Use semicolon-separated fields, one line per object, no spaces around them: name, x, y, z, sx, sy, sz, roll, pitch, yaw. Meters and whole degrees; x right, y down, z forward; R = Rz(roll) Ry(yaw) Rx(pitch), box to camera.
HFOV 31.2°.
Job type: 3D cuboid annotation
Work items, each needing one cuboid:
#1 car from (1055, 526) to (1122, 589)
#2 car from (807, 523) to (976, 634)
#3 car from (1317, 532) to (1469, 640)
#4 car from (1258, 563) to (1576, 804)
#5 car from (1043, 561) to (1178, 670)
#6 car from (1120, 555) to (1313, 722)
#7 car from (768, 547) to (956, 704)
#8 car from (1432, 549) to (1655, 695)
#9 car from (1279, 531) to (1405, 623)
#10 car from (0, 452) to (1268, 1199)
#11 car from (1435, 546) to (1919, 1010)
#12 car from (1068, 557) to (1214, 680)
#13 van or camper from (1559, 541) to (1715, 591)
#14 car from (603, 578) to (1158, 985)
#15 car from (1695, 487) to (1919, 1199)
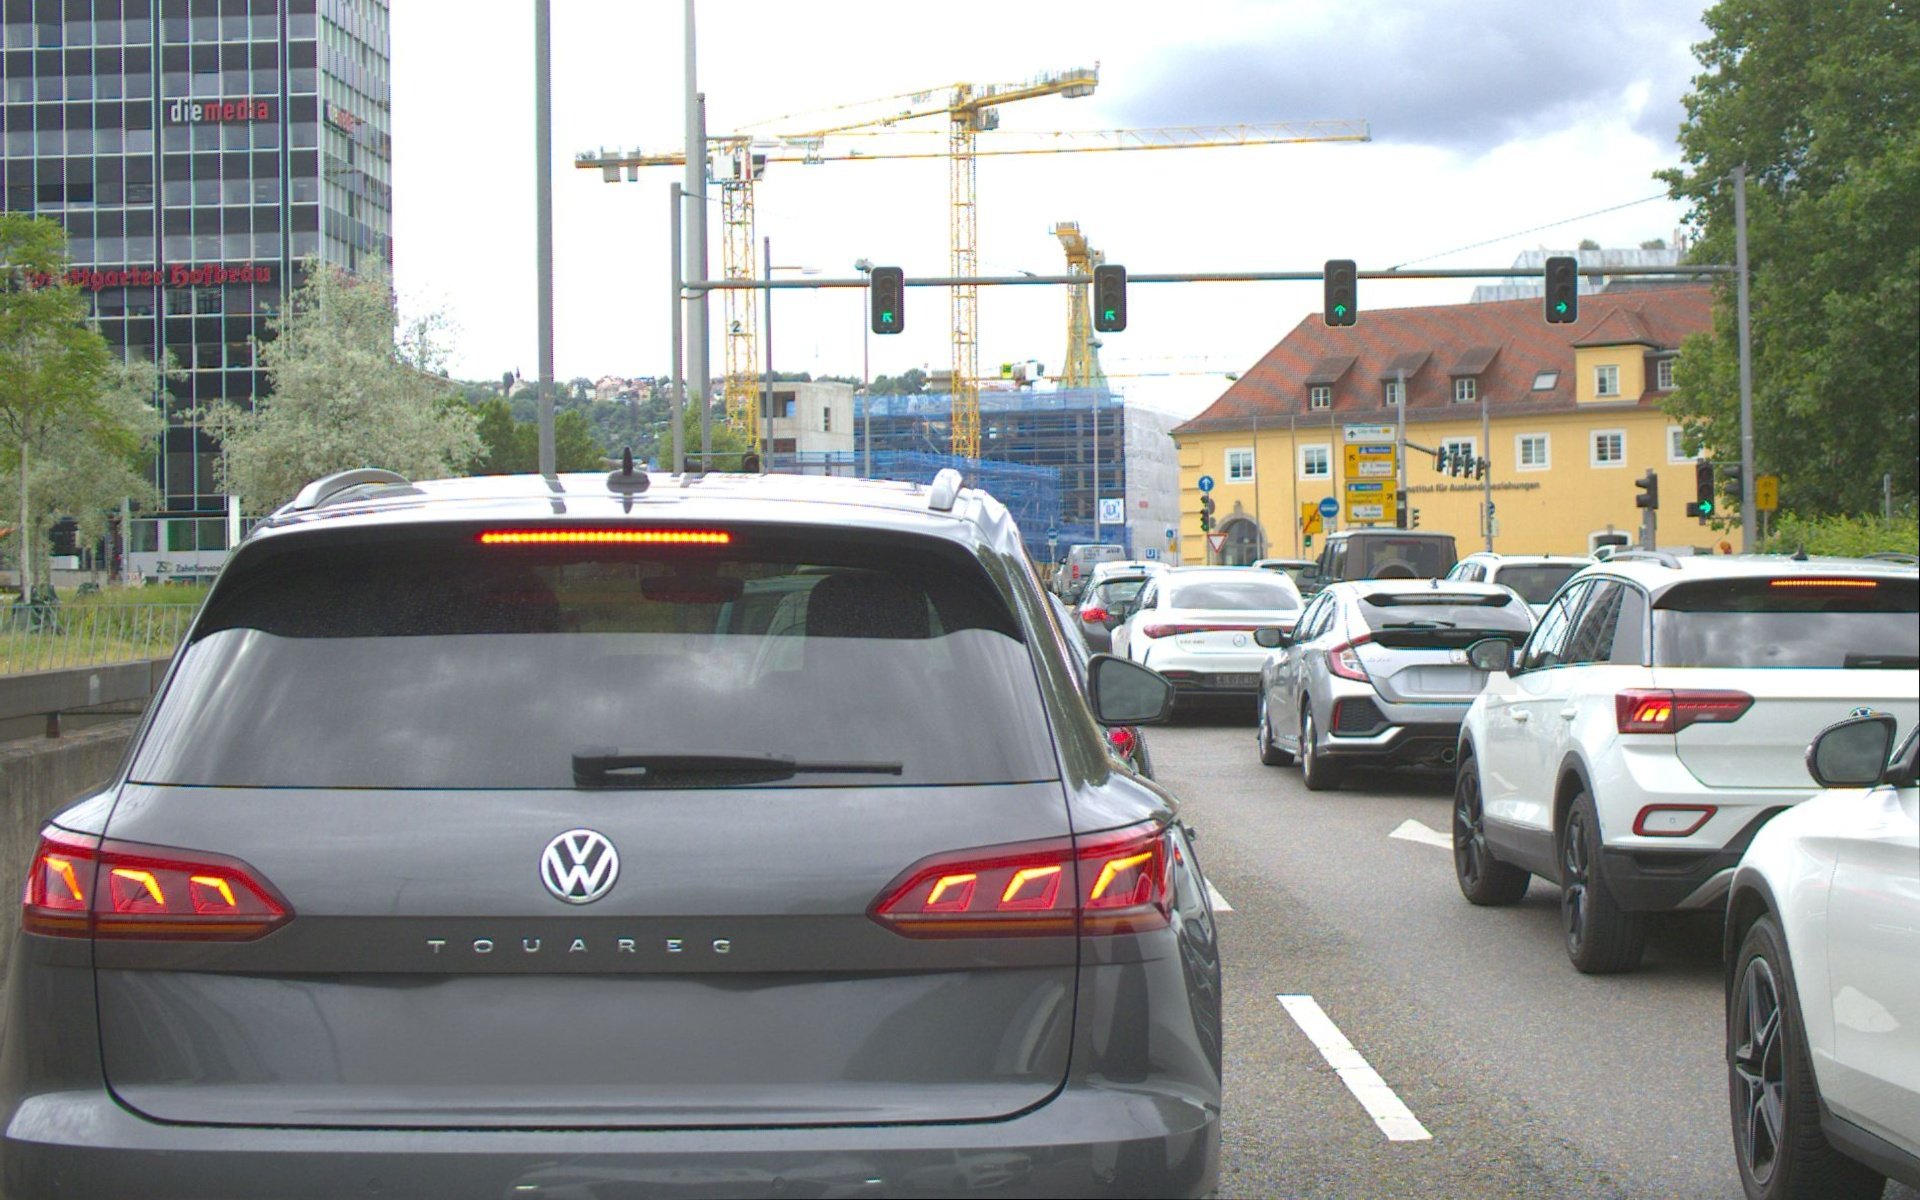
car;4.163;-1.394;112.090;1.993;2.007;4.000;0;1;-1
car;-0.915;-0.336;48.643;2.244;1.497;4.611;0;1;1
car;6.193;-0.234;49.546;1.719;1.497;3.981;0;1;1
car;3.118;0.516;24.172;1.719;1.497;4.144;0;1;1
car;2.468;0.227;56.293;2.139;1.722;4.070;0;0;3
car;2.451;0.325;33.610;1.719;1.497;3.981;0;1;2
car;-0.972;0.216;35.214;1.814;1.491;3.906;0;1;-1
car;6.361;0.201;37.867;1.803;1.497;3.981;0;1;1
car;6.426;-0.413;58.120;1.719;1.497;3.981;0;1;1
car;-0.570;0.581;6.723;1.933;1.641;4.000;0;1;-1
car;3.129;0.588;13.759;1.893;1.580;3.801;0;1;0
car;2.330;0.207;45.173;1.719;1.497;3.981;0;1;0
van or camper;27.992;-1.412;142.260;6.017;2.007;2.015;0;1;35
car;-0.306;0.640;14.358;1.993;1.382;4.000;0;1;-1
car;2.691;0.619;6.215;1.819;1.641;4.379;0;1;1
